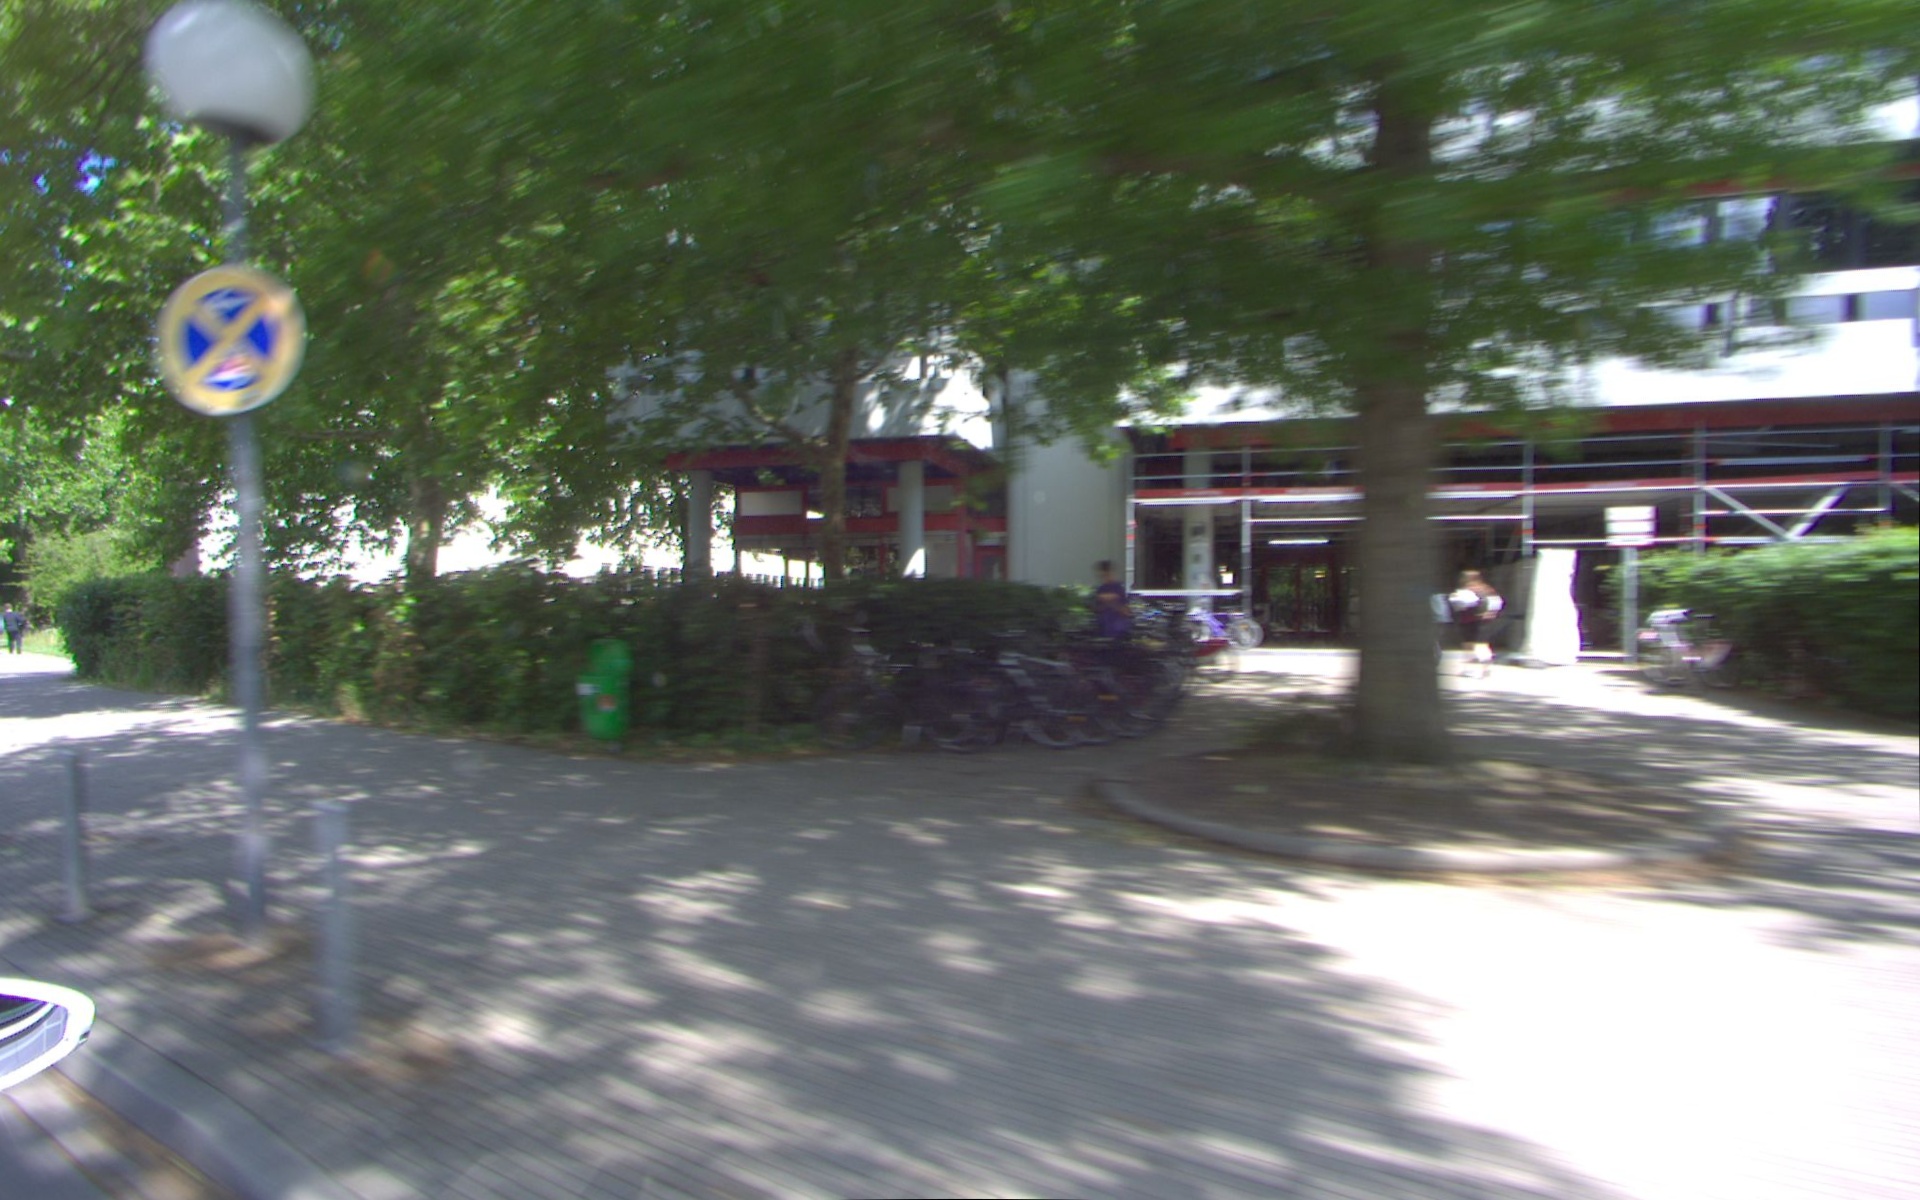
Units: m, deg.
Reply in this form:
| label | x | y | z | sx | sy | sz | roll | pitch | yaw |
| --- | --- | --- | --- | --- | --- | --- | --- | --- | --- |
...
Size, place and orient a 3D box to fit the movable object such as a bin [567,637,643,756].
| label | x | y | z | sx | sy | sz | roll | pitch | yaw |
| --- | --- | --- | --- | --- | --- | --- | --- | --- | --- |
| movable object such as a bin | -3.399 | 0.906 | 9.601 | 0.496 | 1.086 | 0.489 | 0 | 0 | 23 |

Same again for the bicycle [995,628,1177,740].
| label | x | y | z | sx | sy | sz | roll | pitch | yaw |
| --- | --- | --- | --- | --- | --- | --- | --- | --- | --- |
| bicycle | 1.356 | 0.876 | 10.854 | 1.907 | 1.133 | 0.499 | 0 | 0 | 22 |

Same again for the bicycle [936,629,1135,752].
| label | x | y | z | sx | sy | sz | roll | pitch | yaw |
| --- | --- | --- | --- | --- | --- | --- | --- | --- | --- |
| bicycle | 0.737 | 0.861 | 9.904 | 1.903 | 1.133 | 0.499 | 0 | 0 | 22 |

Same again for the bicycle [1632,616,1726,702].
| label | x | y | z | sx | sy | sz | roll | pitch | yaw |
| --- | --- | --- | --- | --- | --- | --- | --- | --- | --- |
| bicycle | 9.770 | 0.766 | 13.667 | 0.491 | 1.040 | 1.868 | 0 | 1 | 18 |

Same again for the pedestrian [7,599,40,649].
| label | x | y | z | sx | sy | sz | roll | pitch | yaw |
| --- | --- | --- | --- | --- | --- | --- | --- | --- | --- |
| pedestrian | -33.691 | 0.869 | 36.030 | 0.622 | 1.778 | 0.816 | 0 | 0 | 43 |

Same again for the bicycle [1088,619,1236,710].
| label | x | y | z | sx | sy | sz | roll | pitch | yaw |
| --- | --- | --- | --- | --- | --- | --- | --- | --- | --- |
| bicycle | 2.639 | 0.817 | 13.127 | 1.840 | 1.133 | 0.499 | 0 | 0 | 22 |

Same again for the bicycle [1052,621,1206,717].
| label | x | y | z | sx | sy | sz | roll | pitch | yaw |
| --- | --- | --- | --- | --- | --- | --- | --- | --- | --- |
| bicycle | 2.105 | 0.836 | 12.514 | 1.840 | 1.133 | 0.499 | 0 | 0 | 22 |

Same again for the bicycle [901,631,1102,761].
| label | x | y | z | sx | sy | sz | roll | pitch | yaw |
| --- | --- | --- | --- | --- | --- | --- | --- | --- | --- |
| bicycle | 0.382 | 0.873 | 9.480 | 1.840 | 1.133 | 0.499 | 0 | 0 | 22 |

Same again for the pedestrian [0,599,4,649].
| label | x | y | z | sx | sy | sz | roll | pitch | yaw |
| --- | --- | --- | --- | --- | --- | --- | --- | --- | --- |
| pedestrian | -34.417 | 0.842 | 35.605 | 0.622 | 1.778 | 0.598 | 0 | 0 | 44 |

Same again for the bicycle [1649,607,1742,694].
| label | x | y | z | sx | sy | sz | roll | pitch | yaw |
| --- | --- | --- | --- | --- | --- | --- | --- | --- | --- |
| bicycle | 10.621 | 0.691 | 14.517 | 0.491 | 1.134 | 1.868 | 0 | 1 | 17 |

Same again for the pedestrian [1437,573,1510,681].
| label | x | y | z | sx | sy | sz | roll | pitch | yaw |
| --- | --- | --- | --- | --- | --- | --- | --- | --- | --- |
| pedestrian | 8.056 | 0.416 | 15.743 | 0.709 | 1.657 | 0.831 | 0 | 0 | -1 |

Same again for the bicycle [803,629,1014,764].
| label | x | y | z | sx | sy | sz | roll | pitch | yaw |
| --- | --- | --- | --- | --- | --- | --- | --- | --- | --- |
| bicycle | -0.475 | 0.846 | 9.171 | 1.840 | 1.133 | 0.619 | 0 | 0 | 22 |

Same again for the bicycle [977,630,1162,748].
| label | x | y | z | sx | sy | sz | roll | pitch | yaw |
| --- | --- | --- | --- | --- | --- | --- | --- | --- | --- |
| bicycle | 1.120 | 0.883 | 10.329 | 1.840 | 1.133 | 0.499 | 0 | 0 | 22 |

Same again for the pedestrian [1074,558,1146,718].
| label | x | y | z | sx | sy | sz | roll | pitch | yaw |
| --- | --- | --- | --- | --- | --- | --- | --- | --- | --- |
| pedestrian | 1.802 | 0.446 | 12.015 | 0.749 | 1.861 | 0.543 | 0 | 0 | 23 |

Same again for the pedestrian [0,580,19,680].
| label | x | y | z | sx | sy | sz | roll | pitch | yaw |
| --- | --- | --- | --- | --- | --- | --- | --- | --- | --- |
| pedestrian | -18.512 | 0.573 | 19.130 | 0.782 | 1.897 | 0.669 | 0 | 0 | 38 |

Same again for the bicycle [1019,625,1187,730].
| label | x | y | z | sx | sy | sz | roll | pitch | yaw |
| --- | --- | --- | --- | --- | --- | --- | --- | --- | --- |
| bicycle | 1.632 | 0.861 | 11.460 | 1.840 | 1.133 | 0.499 | 0 | 0 | 22 |

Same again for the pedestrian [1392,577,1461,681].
| label | x | y | z | sx | sy | sz | roll | pitch | yaw |
| --- | --- | --- | --- | --- | --- | --- | --- | --- | --- |
| pedestrian | 7.326 | 0.450 | 15.749 | 0.714 | 1.593 | 0.760 | 0 | 0 | -3 |
